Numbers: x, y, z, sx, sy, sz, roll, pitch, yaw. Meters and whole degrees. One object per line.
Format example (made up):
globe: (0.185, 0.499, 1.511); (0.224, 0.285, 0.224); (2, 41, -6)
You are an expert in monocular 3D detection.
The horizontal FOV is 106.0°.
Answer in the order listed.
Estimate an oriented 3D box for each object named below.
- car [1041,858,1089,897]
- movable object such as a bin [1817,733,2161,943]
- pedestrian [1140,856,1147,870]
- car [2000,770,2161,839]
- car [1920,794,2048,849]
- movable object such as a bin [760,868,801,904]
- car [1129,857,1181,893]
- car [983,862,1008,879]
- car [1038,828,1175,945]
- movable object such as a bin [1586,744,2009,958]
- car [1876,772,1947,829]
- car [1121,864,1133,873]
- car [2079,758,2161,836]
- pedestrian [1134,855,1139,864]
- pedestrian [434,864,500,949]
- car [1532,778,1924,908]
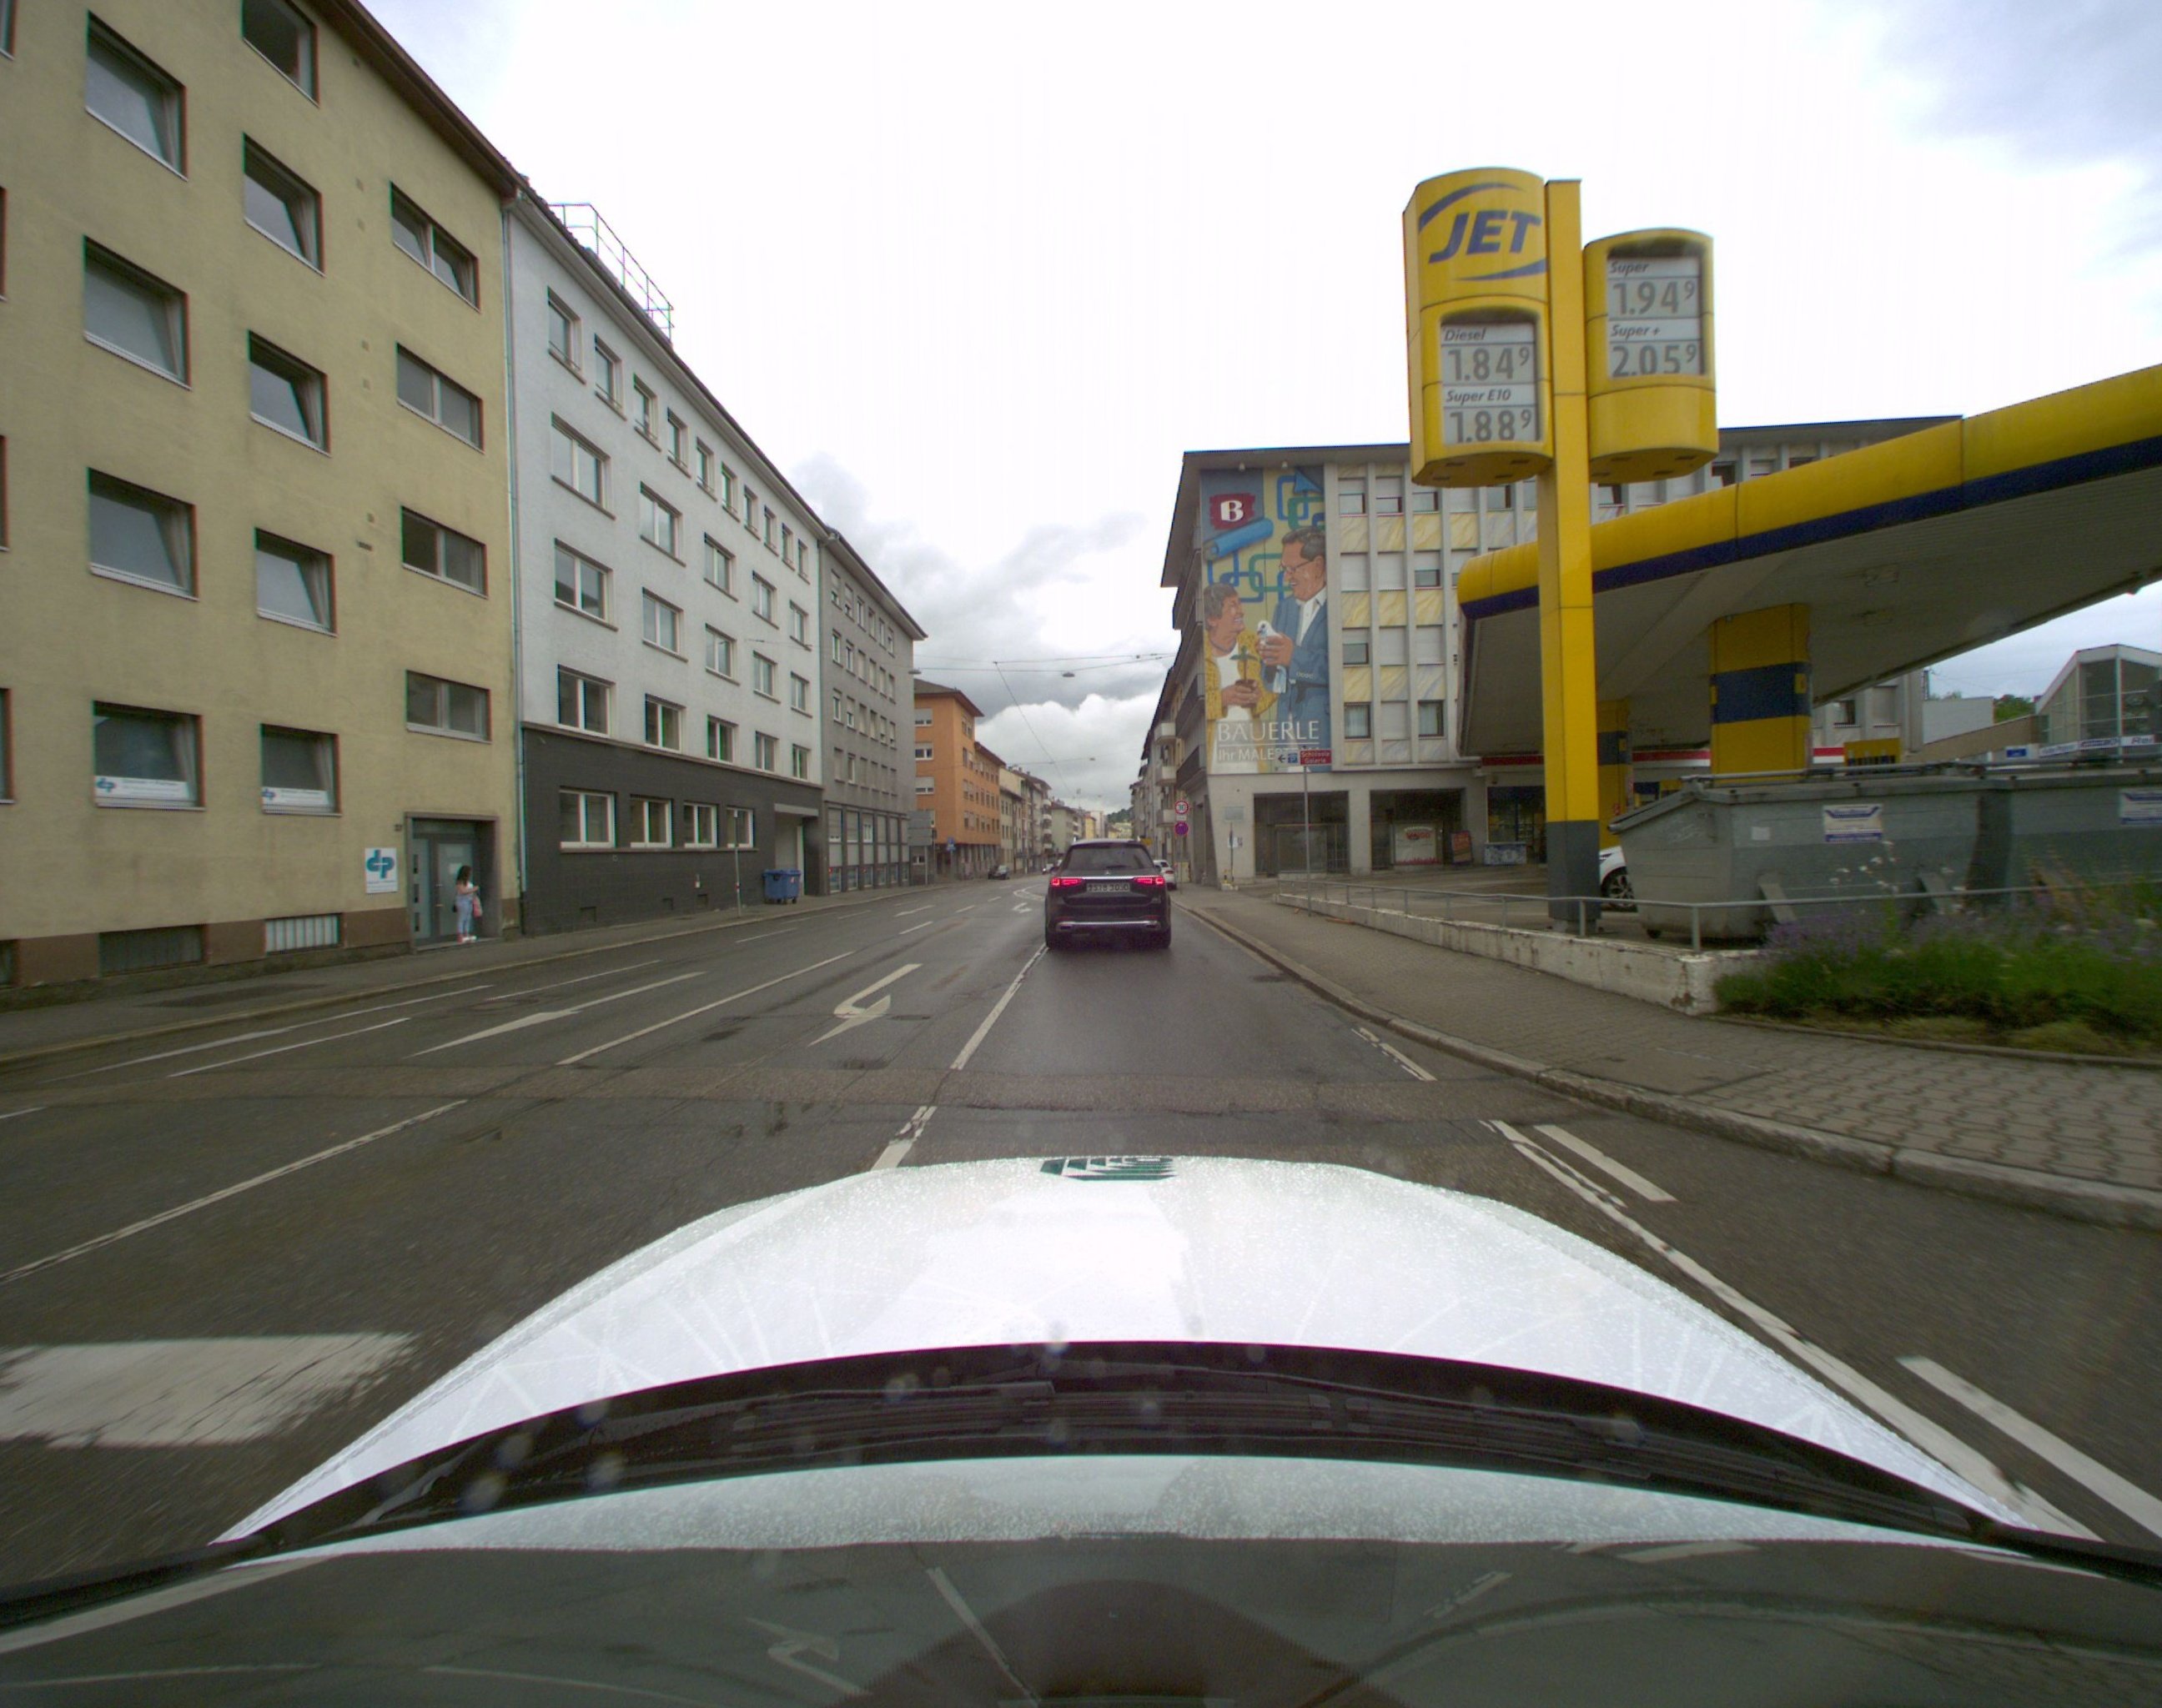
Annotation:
car: (-0.630, 0.923, 34.003); (1.887, 1.510, 4.172); (1, 0, 0)
movable object such as a bin: (8.380, -0.151, 7.160); (2.147, 1.555, 1.774); (-3, 0, 2)
pedestrian: (7.856, 1.085, 102.121); (0.652, 1.752, 0.743); (-4, -1, 7)
car: (31.570, -1.471, 25.761); (1.974, 1.865, 4.608); (0, 0, 31)
car: (34.186, -1.157, 31.001); (1.974, 1.865, 4.608); (0, 0, 31)
movable object such as a bin: (-11.475, 1.217, 31.127); (1.072, 1.324, 1.191); (0, 0, 2)
car: (3.430, 0.932, 38.393); (1.887, 1.402, 4.607); (-6, 0, 0)
car: (-8.114, 1.561, 77.523); (1.885, 1.458, 4.549); (0, 0, 0)
car: (0.465, 0.483, 14.579); (2.068, 1.765, 4.613); (0, 0, 2)
movable object such as a bin: (6.121, -0.018, 7.229); (2.147, 1.574, 1.774); (-2, 0, 2)
car: (59.106, -3.711, 58.082); (2.353, 3.688, 5.025); (0, 0, 32)
car: (7.223, 2.288, 127.894); (1.728, 1.388, 4.583); (0, 0, 1)
car: (28.366, -1.447, 20.908); (1.974, 1.865, 4.608); (0, 0, 31)
pedestrian: (9.052, 0.908, 132.287); (0.817, 1.565, 0.901); (0, 0, 5)
pedestrian: (-12.555, 1.056, 16.665); (0.714, 1.689, 0.812); (0, 0, 4)
car: (8.702, -0.067, 11.224); (1.756, 1.442, 3.950); (-3, -1, -44)
